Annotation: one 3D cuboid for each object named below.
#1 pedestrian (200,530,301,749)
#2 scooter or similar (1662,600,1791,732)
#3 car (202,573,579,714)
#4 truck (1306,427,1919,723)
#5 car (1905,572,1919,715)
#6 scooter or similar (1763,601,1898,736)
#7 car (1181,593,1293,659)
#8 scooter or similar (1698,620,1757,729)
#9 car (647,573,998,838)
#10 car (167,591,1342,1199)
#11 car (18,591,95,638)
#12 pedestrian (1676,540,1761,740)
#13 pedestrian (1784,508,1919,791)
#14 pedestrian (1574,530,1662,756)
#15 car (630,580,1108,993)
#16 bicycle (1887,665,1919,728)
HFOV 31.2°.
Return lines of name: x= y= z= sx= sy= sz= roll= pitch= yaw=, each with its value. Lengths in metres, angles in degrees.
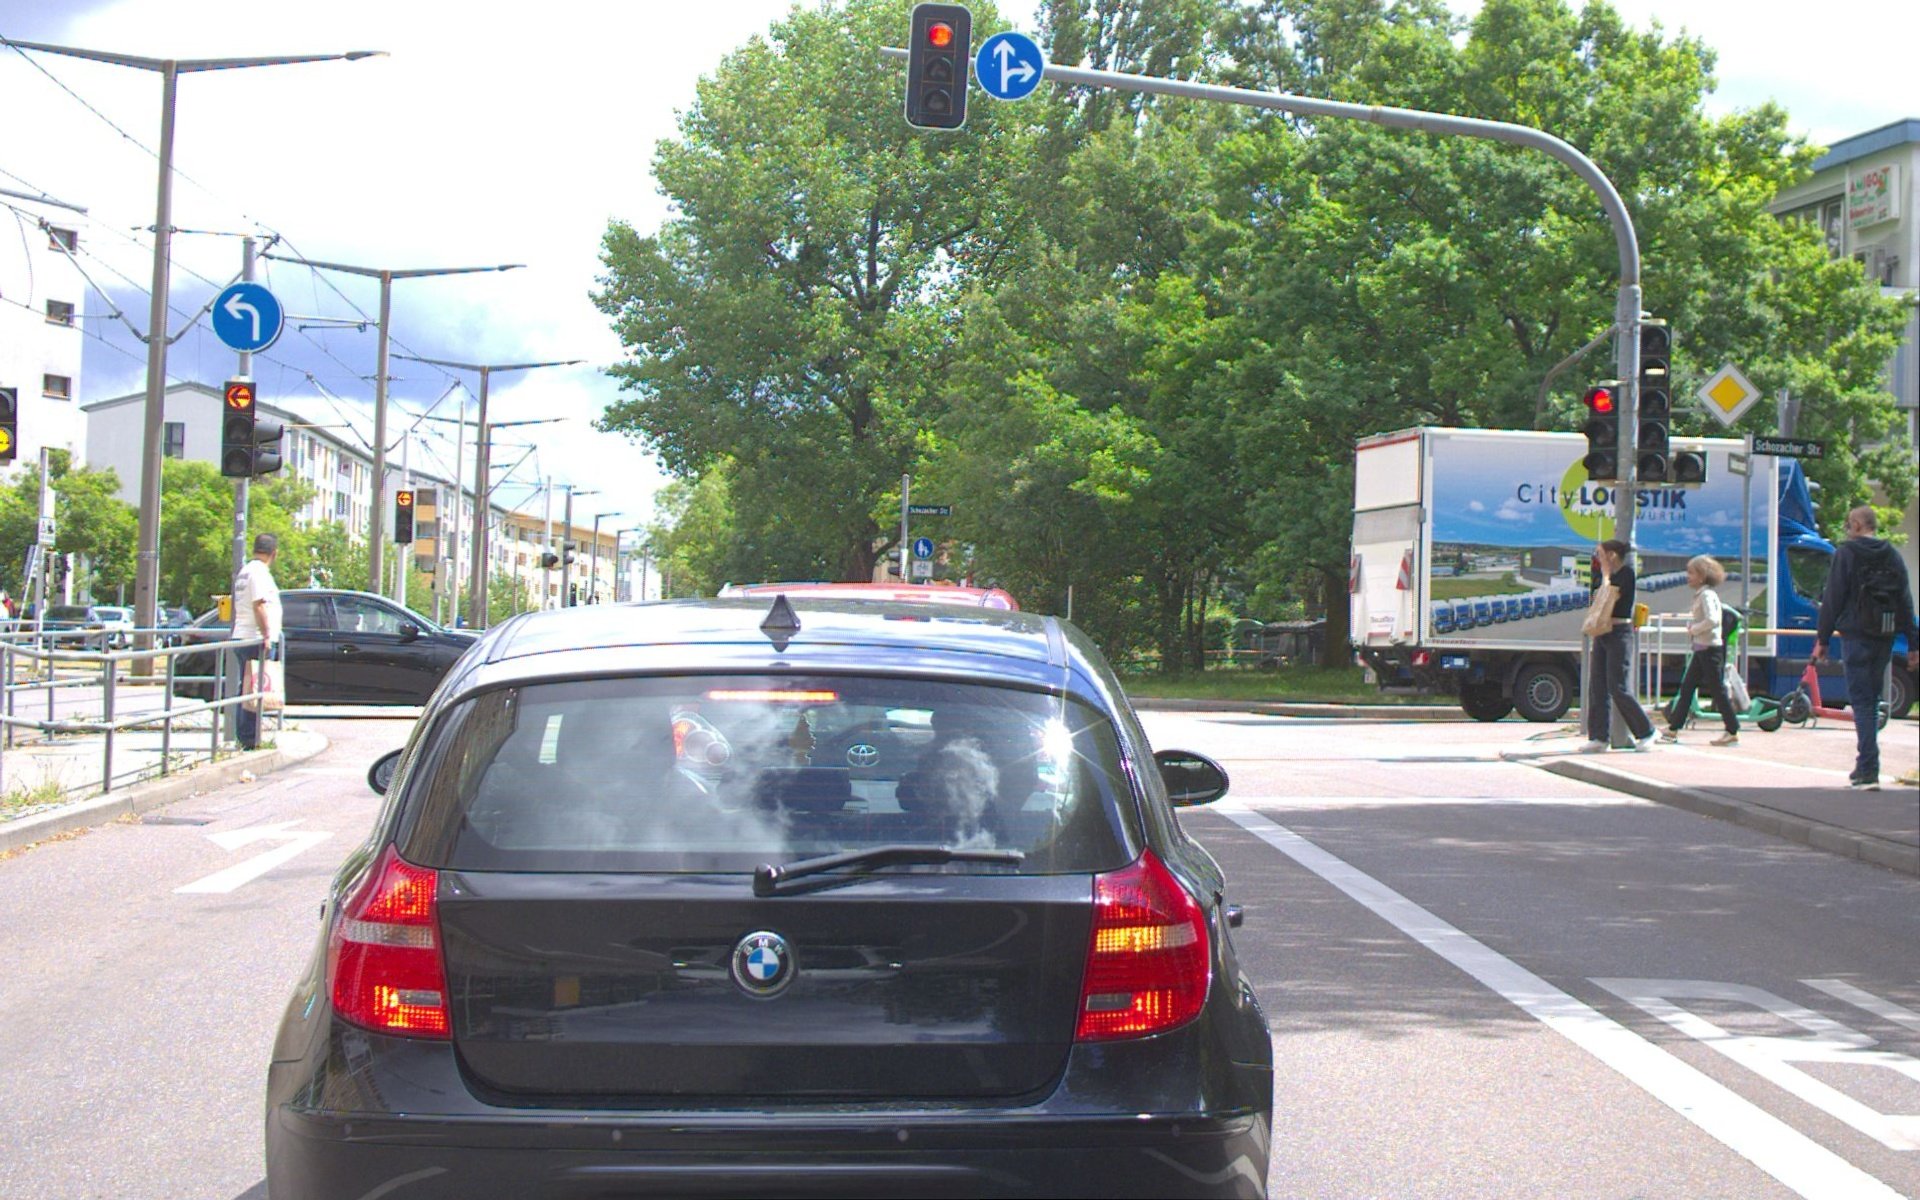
pedestrian: x=-5.689 y=0.310 z=27.600 sx=0.687 sy=1.728 sz=0.688 roll=1 pitch=0 yaw=-3
scooter or similar: x=7.337 y=0.627 z=32.935 sx=1.110 sy=1.231 sz=0.539 roll=1 pitch=0 yaw=2
car: x=-6.322 y=0.475 z=38.027 sx=3.986 sy=1.481 sz=1.848 roll=1 pitch=0 yaw=-13
truck: x=8.026 y=-0.269 z=41.055 sx=7.266 sy=3.337 sz=2.609 roll=1 pitch=0 yaw=-12
car: x=15.758 y=0.622 z=47.960 sx=4.534 sy=2.007 sz=2.000 roll=0 pitch=0 yaw=-8
scooter or similar: x=8.558 y=0.668 z=33.825 sx=1.150 sy=1.268 sz=0.555 roll=2 pitch=0 yaw=2
car: x=7.275 y=0.663 z=90.682 sx=1.862 sy=1.656 sz=4.001 roll=1 pitch=0 yaw=-11
scooter or similar: x=7.794 y=0.741 z=34.898 sx=0.548 sy=1.060 sz=1.261 roll=1 pitch=0 yaw=13
car: x=-0.777 y=0.559 z=21.100 sx=1.900 sy=1.417 sz=4.539 roll=1 pitch=0 yaw=-1
car: x=-0.322 y=0.704 z=6.727 sx=1.700 sy=1.395 sz=3.420 roll=1 pitch=0 yaw=-1
car: x=-29.390 y=0.467 z=111.917 sx=1.591 sy=1.469 sz=3.775 roll=1 pitch=0 yaw=-2
pedestrian: x=6.748 y=0.351 z=30.598 sx=0.636 sy=1.760 sz=0.518 roll=1 pitch=0 yaw=4
pedestrian: x=6.089 y=0.324 z=23.265 sx=0.795 sy=1.870 sz=1.013 roll=1 pitch=0 yaw=3
pedestrian: x=5.520 y=0.351 z=28.847 sx=0.636 sy=1.870 sz=0.518 roll=1 pitch=0 yaw=4
car: x=-0.335 y=0.637 z=13.630 sx=1.638 sy=1.395 sz=3.420 roll=1 pitch=0 yaw=-1
bicycle: x=10.345 y=1.021 z=35.195 sx=1.587 sy=0.607 sz=0.534 roll=3 pitch=1 yaw=20
